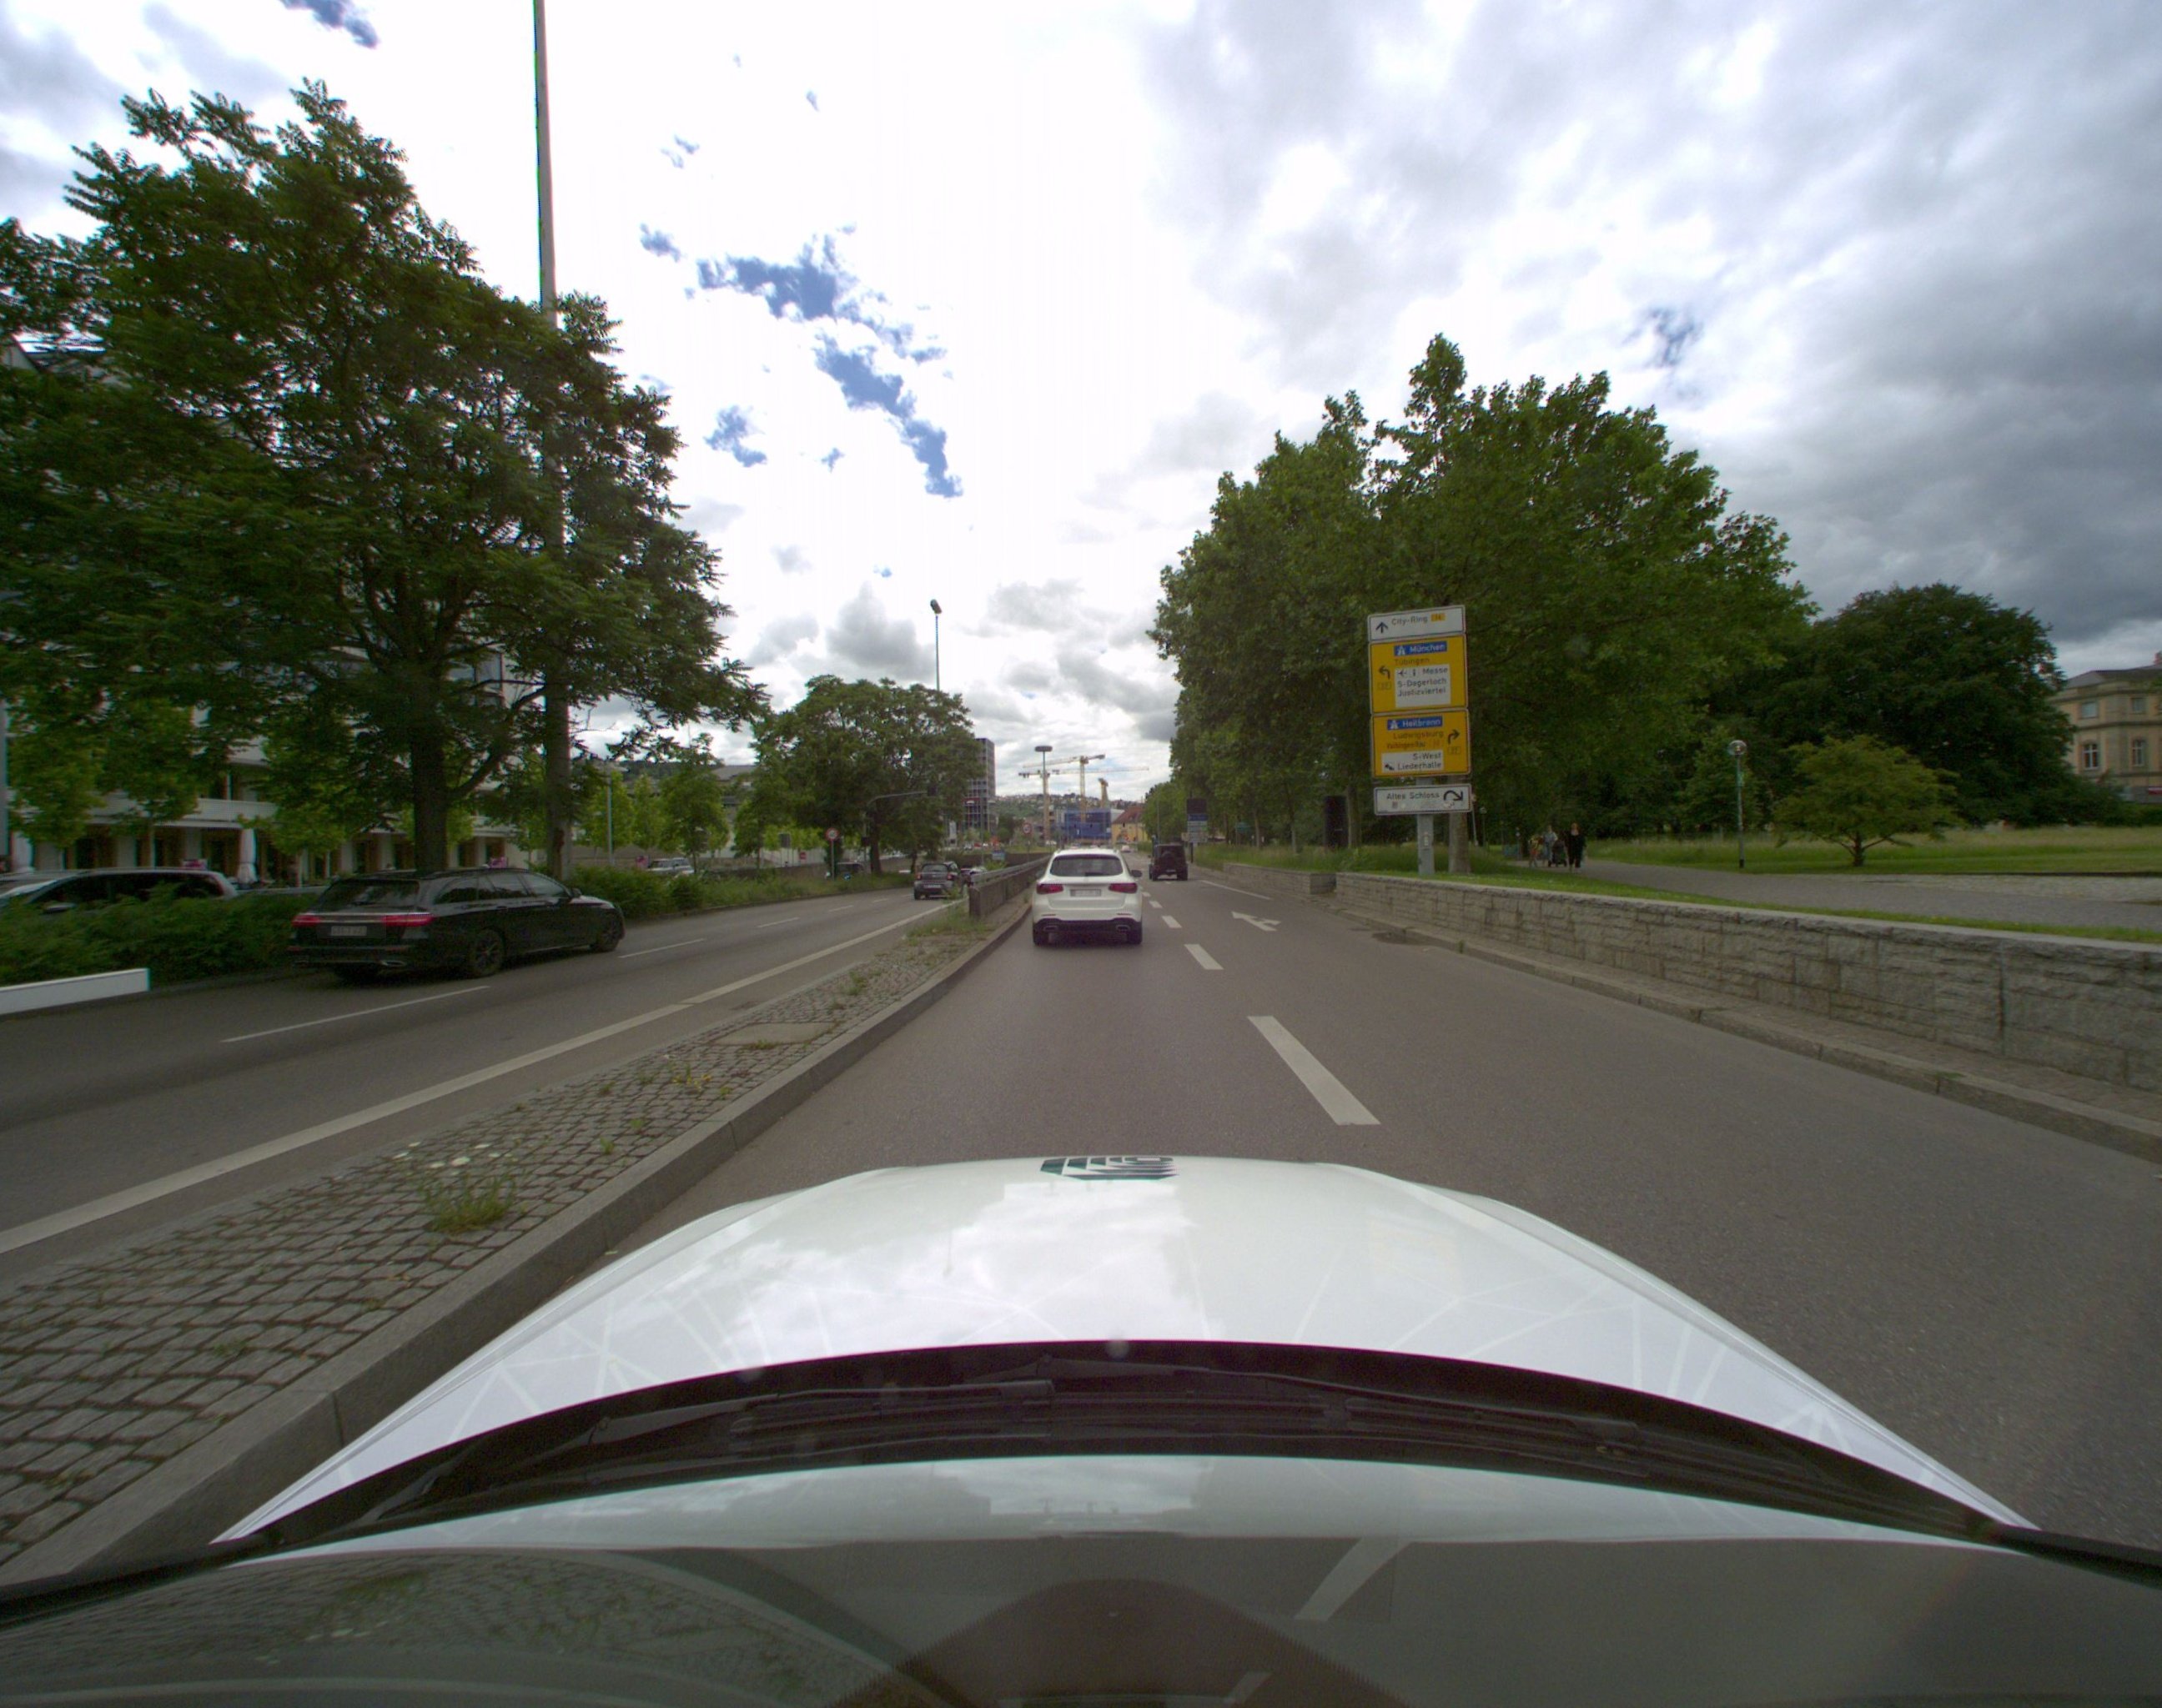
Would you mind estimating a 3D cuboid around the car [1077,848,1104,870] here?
[{"bbox_3d":[0.667,0.367,61.365,1.917,1.602,3.999,0,0,-1],"label":"car"}]

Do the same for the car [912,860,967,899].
[{"bbox_3d":[-5.772,1.009,33.553,1.622,1.509,3.539,0,-1,0],"label":"car"}]

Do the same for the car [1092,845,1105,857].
[{"bbox_3d":[2.800,-0.494,131.273,1.987,1.781,3.998,1,-1,-1],"label":"car"}]

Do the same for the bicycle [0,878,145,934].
[{"bbox_3d":[-34.134,1.733,27.468,3.603,1.684,1.182,-2,0,-2],"label":"bicycle"}]

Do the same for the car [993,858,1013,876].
[{"bbox_3d":[-7.556,1.233,79.136,1.714,1.678,3.997,1,0,-2],"label":"car"}]

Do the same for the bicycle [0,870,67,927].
[{"bbox_3d":[-33.818,1.398,25.046,3.603,1.684,1.182,-2,0,-2],"label":"bicycle"}]

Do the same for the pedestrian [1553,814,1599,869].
[{"bbox_3d":[15.964,-0.386,26.295,0.893,1.732,0.969,1,0,0],"label":"pedestrian"}]

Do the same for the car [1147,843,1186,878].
[{"bbox_3d":[4.794,0.373,46.199,1.969,1.893,4.710,1,-1,3],"label":"car"}]

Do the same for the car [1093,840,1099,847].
[{"bbox_3d":[4.293,-3.006,233.422,1.795,2.014,3.998,1,-1,-1],"label":"car"}]

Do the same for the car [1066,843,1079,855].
[{"bbox_3d":[-1.403,-0.819,133.781,1.986,1.757,4.001,1,-1,1],"label":"car"}]

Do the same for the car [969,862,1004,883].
[{"bbox_3d":[-6.439,1.254,55.830,1.712,1.292,4.003,1,0,3],"label":"car"}]

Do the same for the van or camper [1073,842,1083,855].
[{"bbox_3d":[-0.592,-1.055,160.616,1.917,2.320,3.998,0,-2,-1],"label":"van or camper"}]

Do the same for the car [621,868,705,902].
[{"bbox_3d":[-19.481,1.410,38.172,1.749,1.462,4.001,1,-1,2],"label":"car"}]

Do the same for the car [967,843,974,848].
[{"bbox_3d":[-29.182,-2.184,214.956,1.829,1.360,3.861,1,-1,-6],"label":"car"}]

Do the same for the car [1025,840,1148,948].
[{"bbox_3d":[0.061,0.658,15.015,1.935,1.684,3.998,-1,-1,-1],"label":"car"}]

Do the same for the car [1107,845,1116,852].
[{"bbox_3d":[6.248,-1.122,167.305,1.714,1.584,3.997,1,0,-2],"label":"car"}]

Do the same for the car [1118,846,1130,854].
[{"bbox_3d":[8.823,-0.890,168.428,1.990,1.618,3.993,1,-1,-5],"label":"car"}]

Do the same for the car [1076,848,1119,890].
[{"bbox_3d":[0.677,0.615,34.242,1.667,1.628,4.000,1,-1,0],"label":"car"}]

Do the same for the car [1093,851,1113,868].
[{"bbox_3d":[2.205,0.555,83.280,1.917,1.602,3.999,0,0,-1],"label":"car"}]

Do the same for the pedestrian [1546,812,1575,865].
[{"bbox_3d":[18.440,-0.579,31.360,0.568,2.014,0.932,1,-1,1],"label":"pedestrian"}]

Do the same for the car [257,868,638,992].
[{"bbox_3d":[-8.903,0.948,12.181,1.806,1.460,4.863,0,-1,1],"label":"car"}]

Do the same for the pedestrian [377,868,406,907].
[{"bbox_3d":[-37.533,1.828,44.352,0.712,2.013,0.735,-10,-1,-13],"label":"pedestrian"}]

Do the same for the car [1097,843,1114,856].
[{"bbox_3d":[3.249,-0.596,107.821,1.987,1.662,3.998,1,-1,-1],"label":"car"}]

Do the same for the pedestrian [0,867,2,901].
[{"bbox_3d":[-42.378,1.169,31.408,0.630,1.327,0.651,-1,0,2],"label":"pedestrian"}]

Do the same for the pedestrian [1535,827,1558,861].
[{"bbox_3d":[18.569,-0.396,32.492,0.580,1.325,0.542,1,-2,0],"label":"pedestrian"}]

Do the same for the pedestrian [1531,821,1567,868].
[{"bbox_3d":[18.560,-0.376,32.328,0.989,1.836,1.034,1,-1,15],"label":"pedestrian"}]
